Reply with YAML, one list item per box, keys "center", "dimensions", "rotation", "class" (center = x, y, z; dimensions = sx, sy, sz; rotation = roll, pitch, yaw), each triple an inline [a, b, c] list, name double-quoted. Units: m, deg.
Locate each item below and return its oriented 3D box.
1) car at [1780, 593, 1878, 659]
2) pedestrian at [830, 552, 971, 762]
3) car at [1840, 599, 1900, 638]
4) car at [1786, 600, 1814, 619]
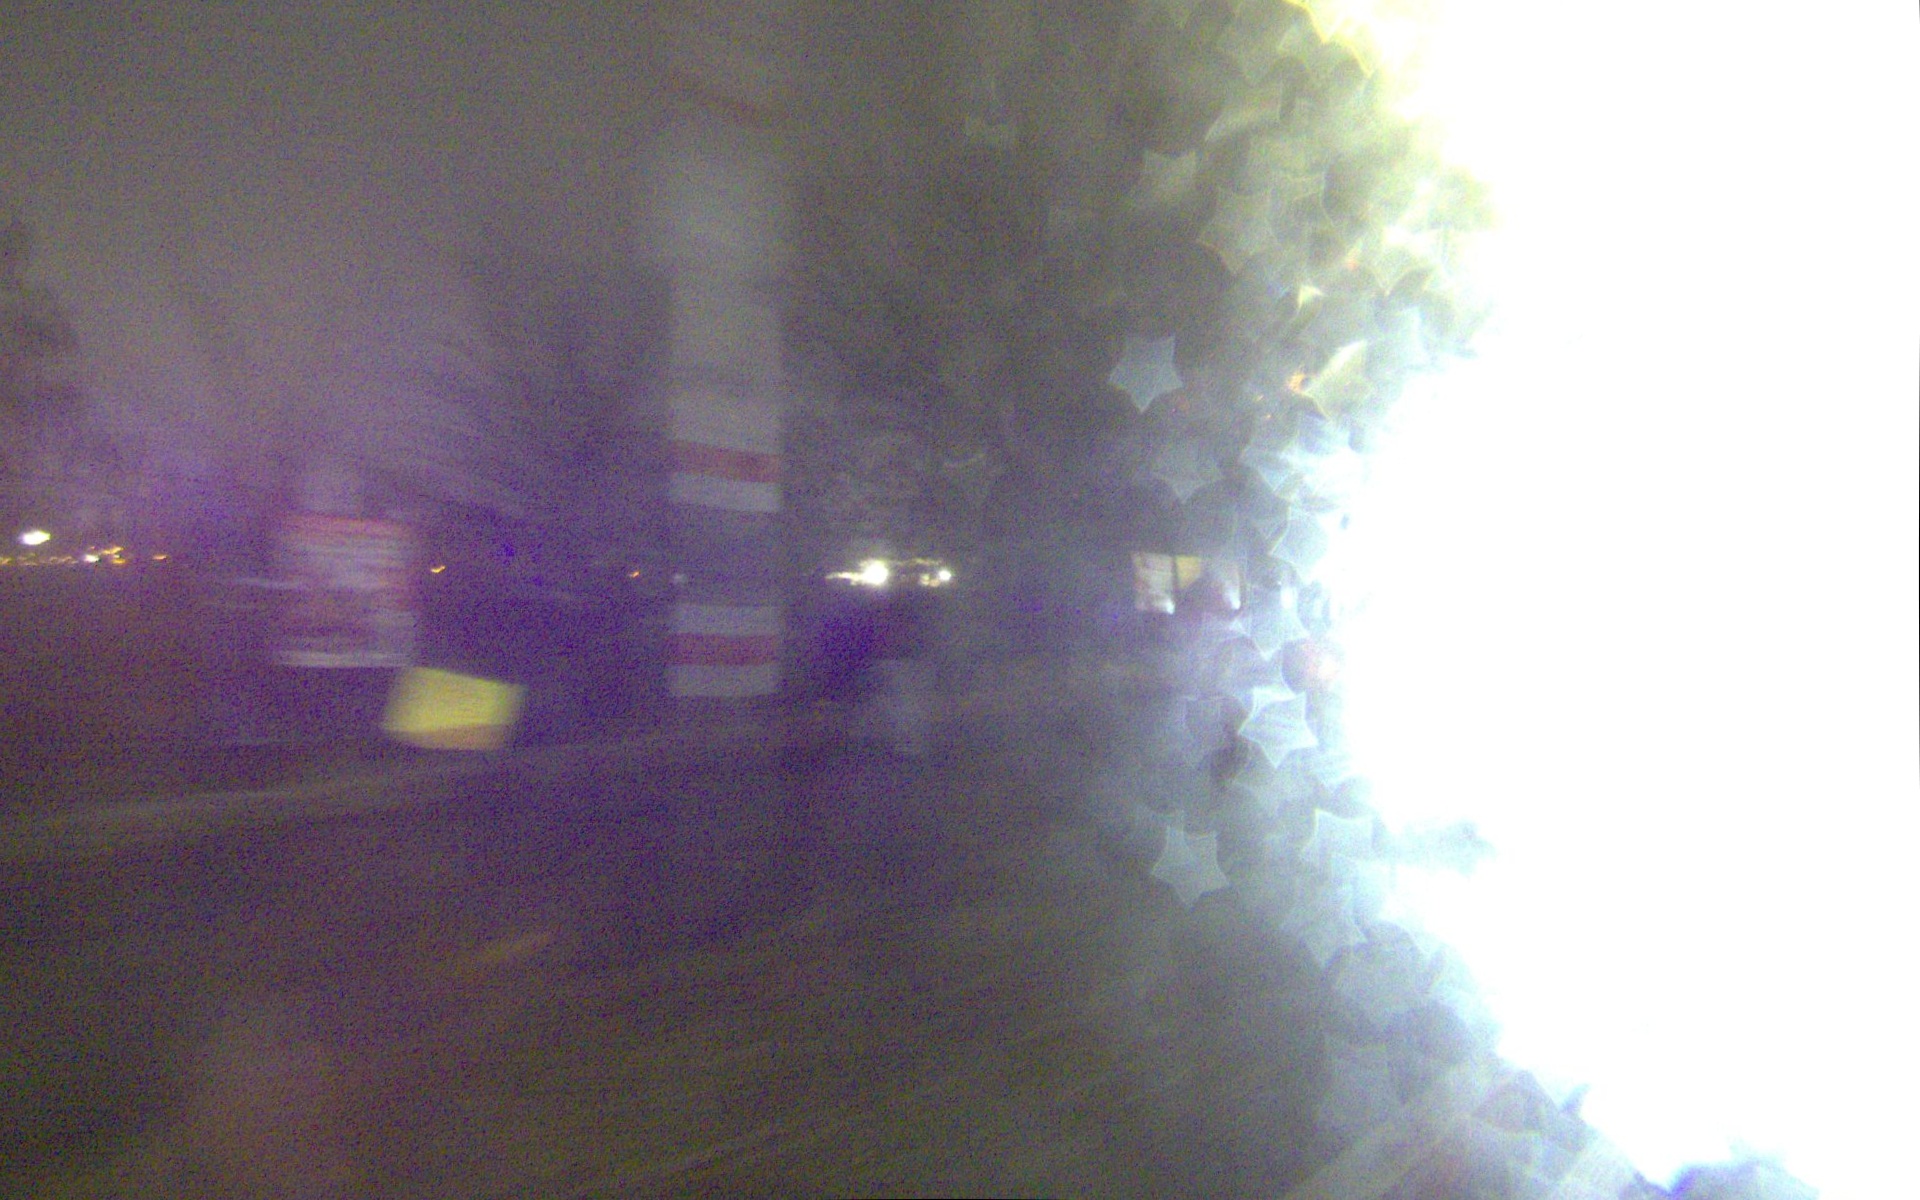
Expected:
- center: [24.559, 0.686, 28.735]
  dimensions: [1.942, 1.741, 4.379]
  rotation: [0, 0, 39]
  class: "car"
- center: [-0.451, 0.410, 7.797]
  dimensions: [0.724, 1.504, 0.824]
  rotation: [0, -1, 39]
  class: "pedestrian"
- center: [42.255, 0.815, 47.076]
  dimensions: [1.826, 1.728, 4.135]
  rotation: [0, 0, 39]
  class: "car"
- center: [75.135, 0.841, 90.566]
  dimensions: [1.826, 1.728, 3.893]
  rotation: [0, 0, 39]
  class: "car"
